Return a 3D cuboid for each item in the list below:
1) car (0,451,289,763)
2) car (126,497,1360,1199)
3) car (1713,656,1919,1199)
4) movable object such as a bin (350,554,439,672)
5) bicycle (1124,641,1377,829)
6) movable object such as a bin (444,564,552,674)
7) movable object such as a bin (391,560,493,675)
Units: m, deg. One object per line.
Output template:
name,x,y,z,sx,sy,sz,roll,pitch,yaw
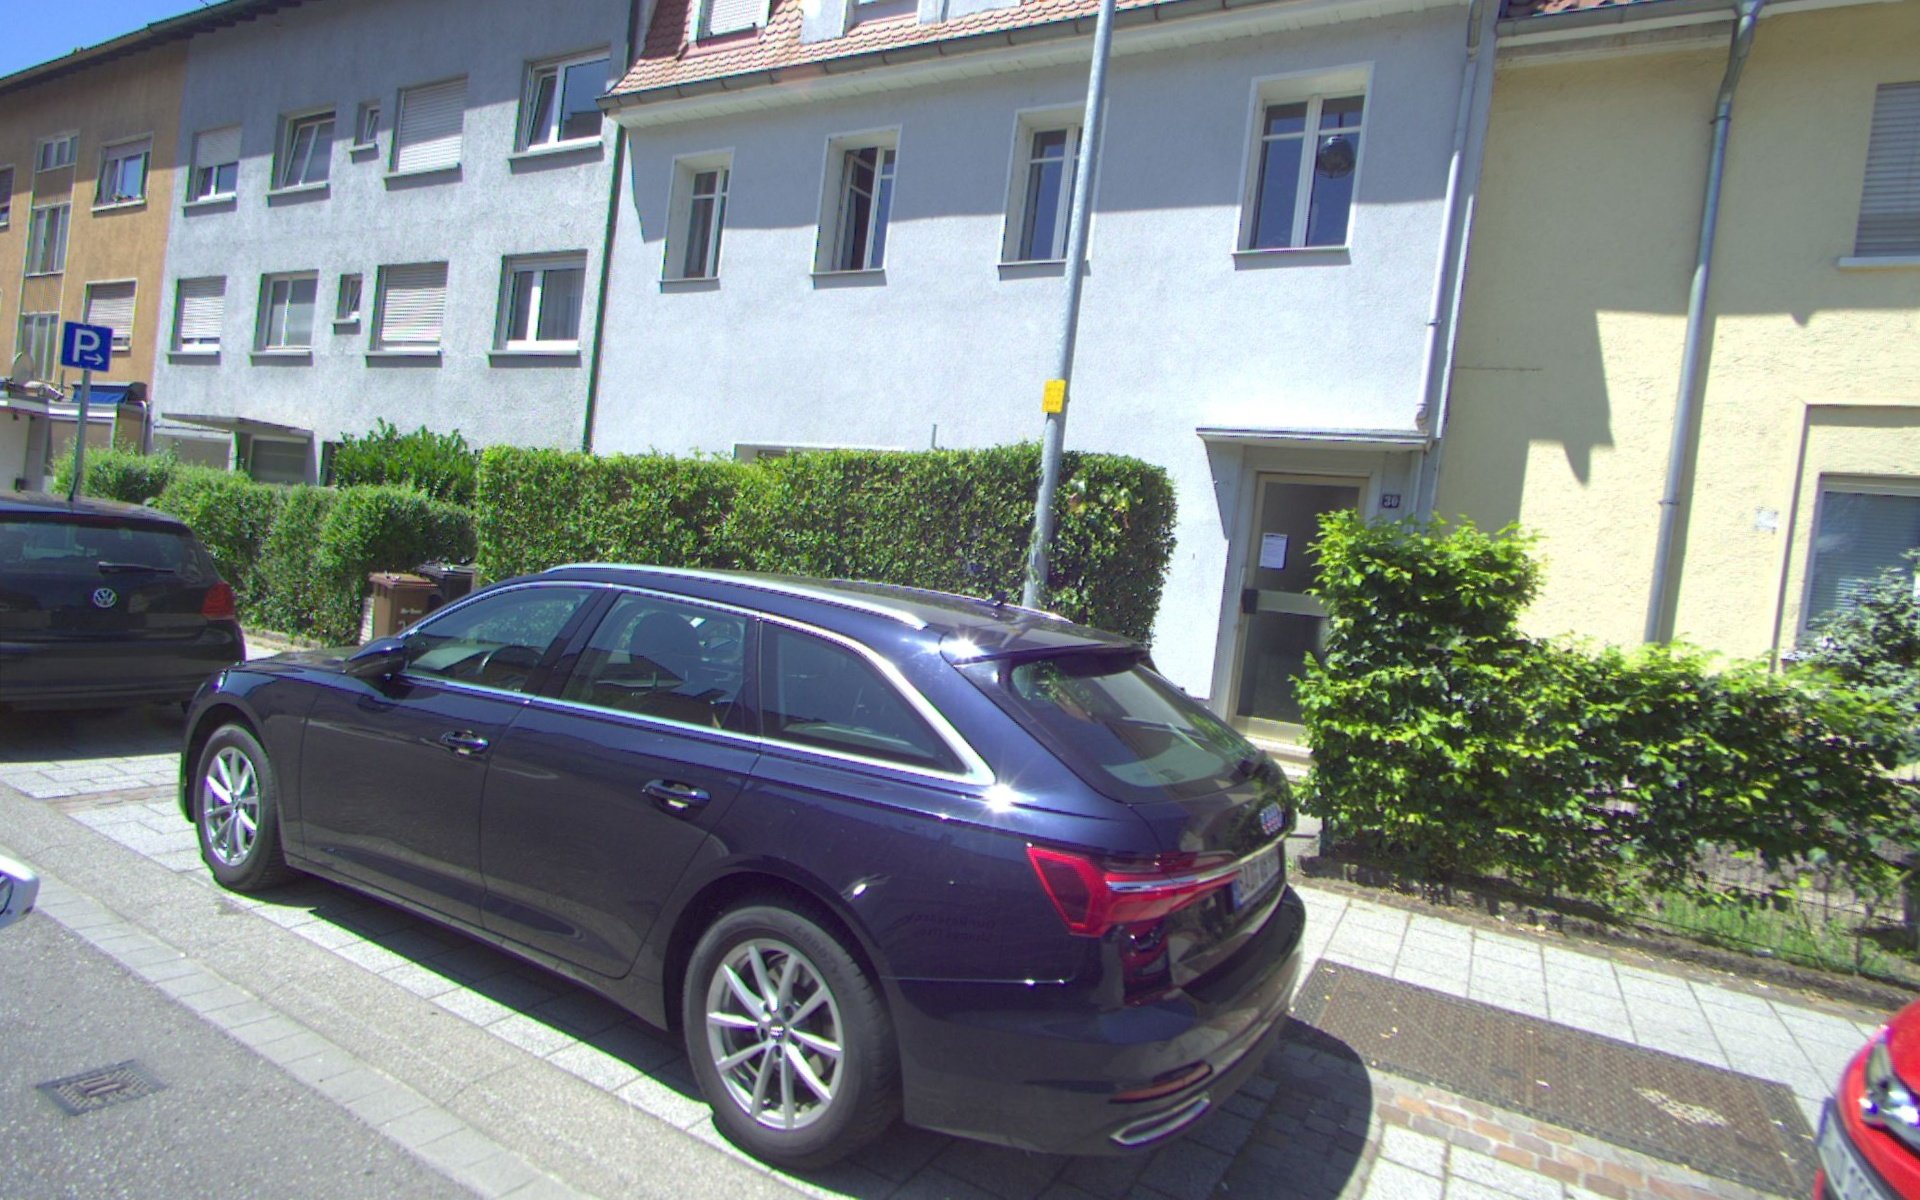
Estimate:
car,-6.404,-0.140,6.825,3.937,1.655,1.727,7,3,35
car,-1.118,0.561,3.919,4.641,1.495,1.804,7,3,31
car,3.631,1.105,1.164,4.080,1.549,1.806,7,0,30
movable object such as a bin,-5.703,0.134,10.156,0.546,1.117,0.488,7,1,31
bicycle,2.426,1.090,8.463,1.852,1.220,0.533,7,-1,25
movable object such as a bin,-5.145,0.221,11.215,0.710,1.123,0.737,7,1,32
movable object such as a bin,-5.455,0.188,10.605,0.763,1.098,0.554,7,1,32
